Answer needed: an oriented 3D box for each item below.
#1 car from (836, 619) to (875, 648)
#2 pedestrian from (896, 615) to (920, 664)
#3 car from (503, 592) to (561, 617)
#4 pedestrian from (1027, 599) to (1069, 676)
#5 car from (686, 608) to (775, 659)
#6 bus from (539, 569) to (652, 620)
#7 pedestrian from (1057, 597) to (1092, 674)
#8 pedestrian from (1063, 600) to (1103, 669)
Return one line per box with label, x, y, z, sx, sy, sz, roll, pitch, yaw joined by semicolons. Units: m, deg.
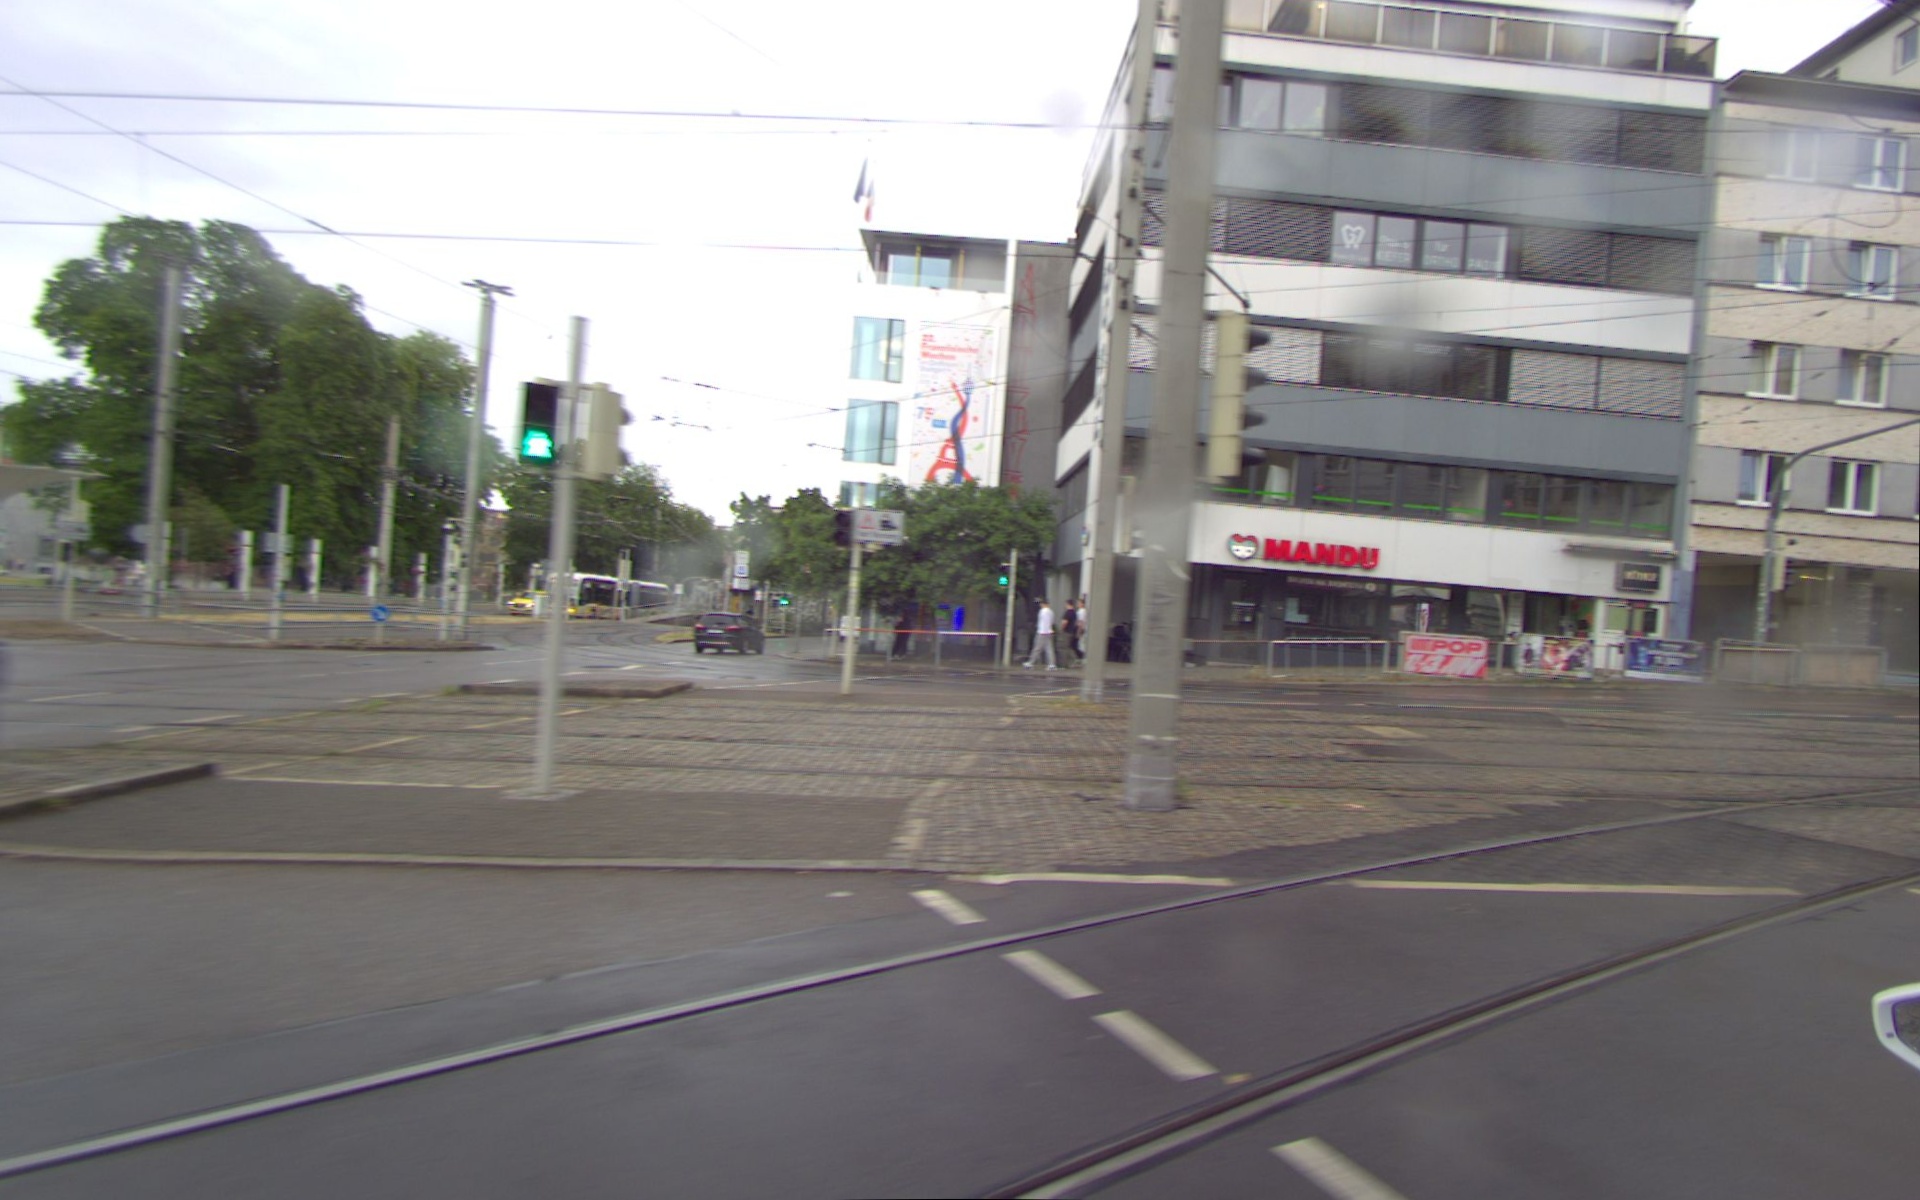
car;-7.721;2.441;74.363;2.002;1.864;4.394;5;0;4
pedestrian;-1.709;1.285;32.922;0.533;1.584;0.521;3;0;22
car;-30.784;0.319;72.356;1.960;1.667;4.538;3;0;3
pedestrian;2.302;0.971;26.277;0.708;1.939;0.695;3;0;40
car;-8.415;1.191;37.226;2.002;1.605;4.393;5;0;2
bus;-27.396;-0.330;76.421;3.025;3.344;12.528;3;0;4
pedestrian;3.009;0.922;26.411;0.685;1.939;0.718;3;0;-7
pedestrian;3.286;0.931;26.912;0.693;1.785;0.710;3;0;-43
